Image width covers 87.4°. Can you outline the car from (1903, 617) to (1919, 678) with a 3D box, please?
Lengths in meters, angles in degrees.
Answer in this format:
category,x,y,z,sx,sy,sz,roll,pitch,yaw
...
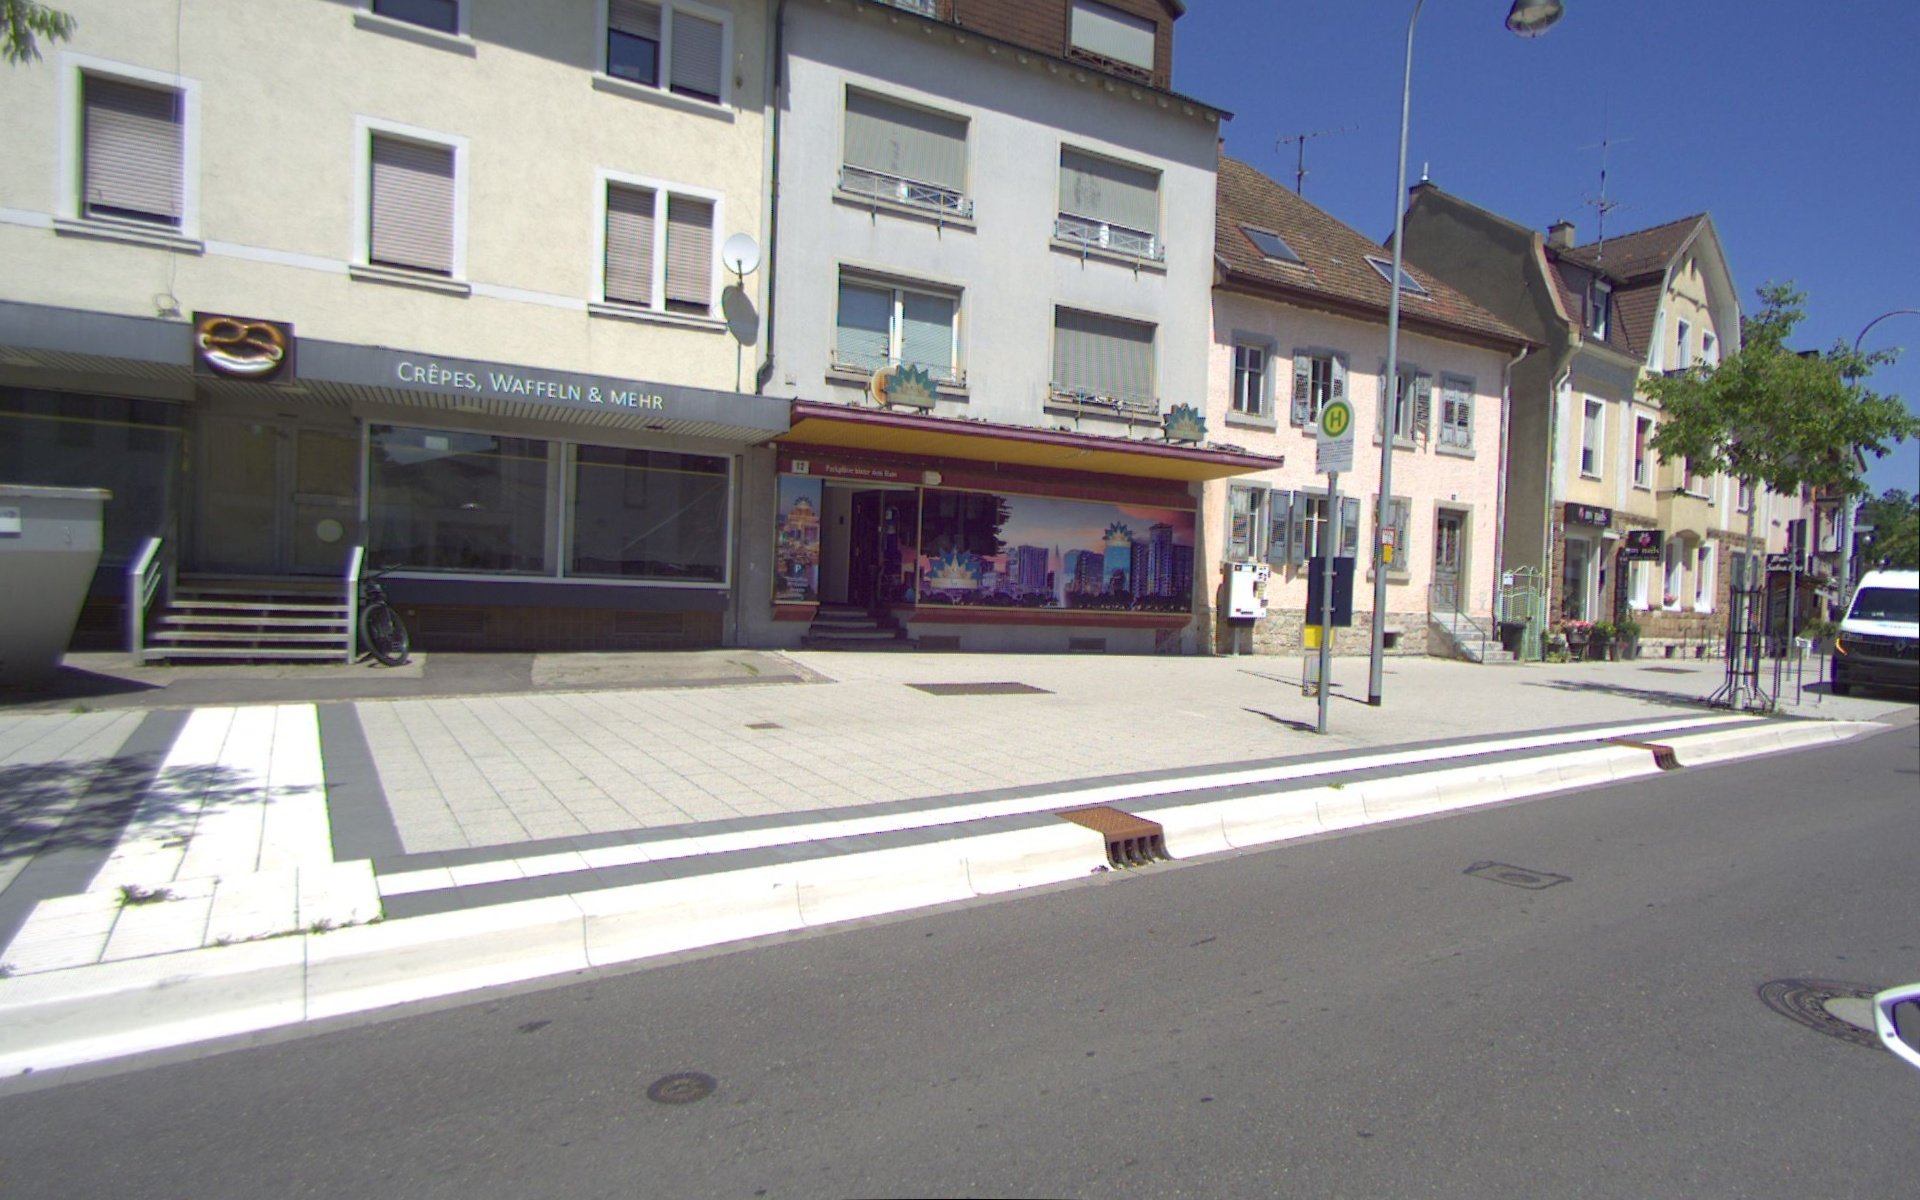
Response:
category,x,y,z,sx,sy,sz,roll,pitch,yaw
car,26.054,1.300,26.481,3.492,1.541,1.544,2,1,-44

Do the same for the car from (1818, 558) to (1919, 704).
category,x,y,z,sx,sy,sz,roll,pitch,yaw
car,18.777,0.596,19.700,5.460,2.532,2.074,1,2,-41

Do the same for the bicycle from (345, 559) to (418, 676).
category,x,y,z,sx,sy,sz,roll,pitch,yaw
bicycle,-6.962,0.172,12.140,0.608,1.251,1.759,1,3,-26
